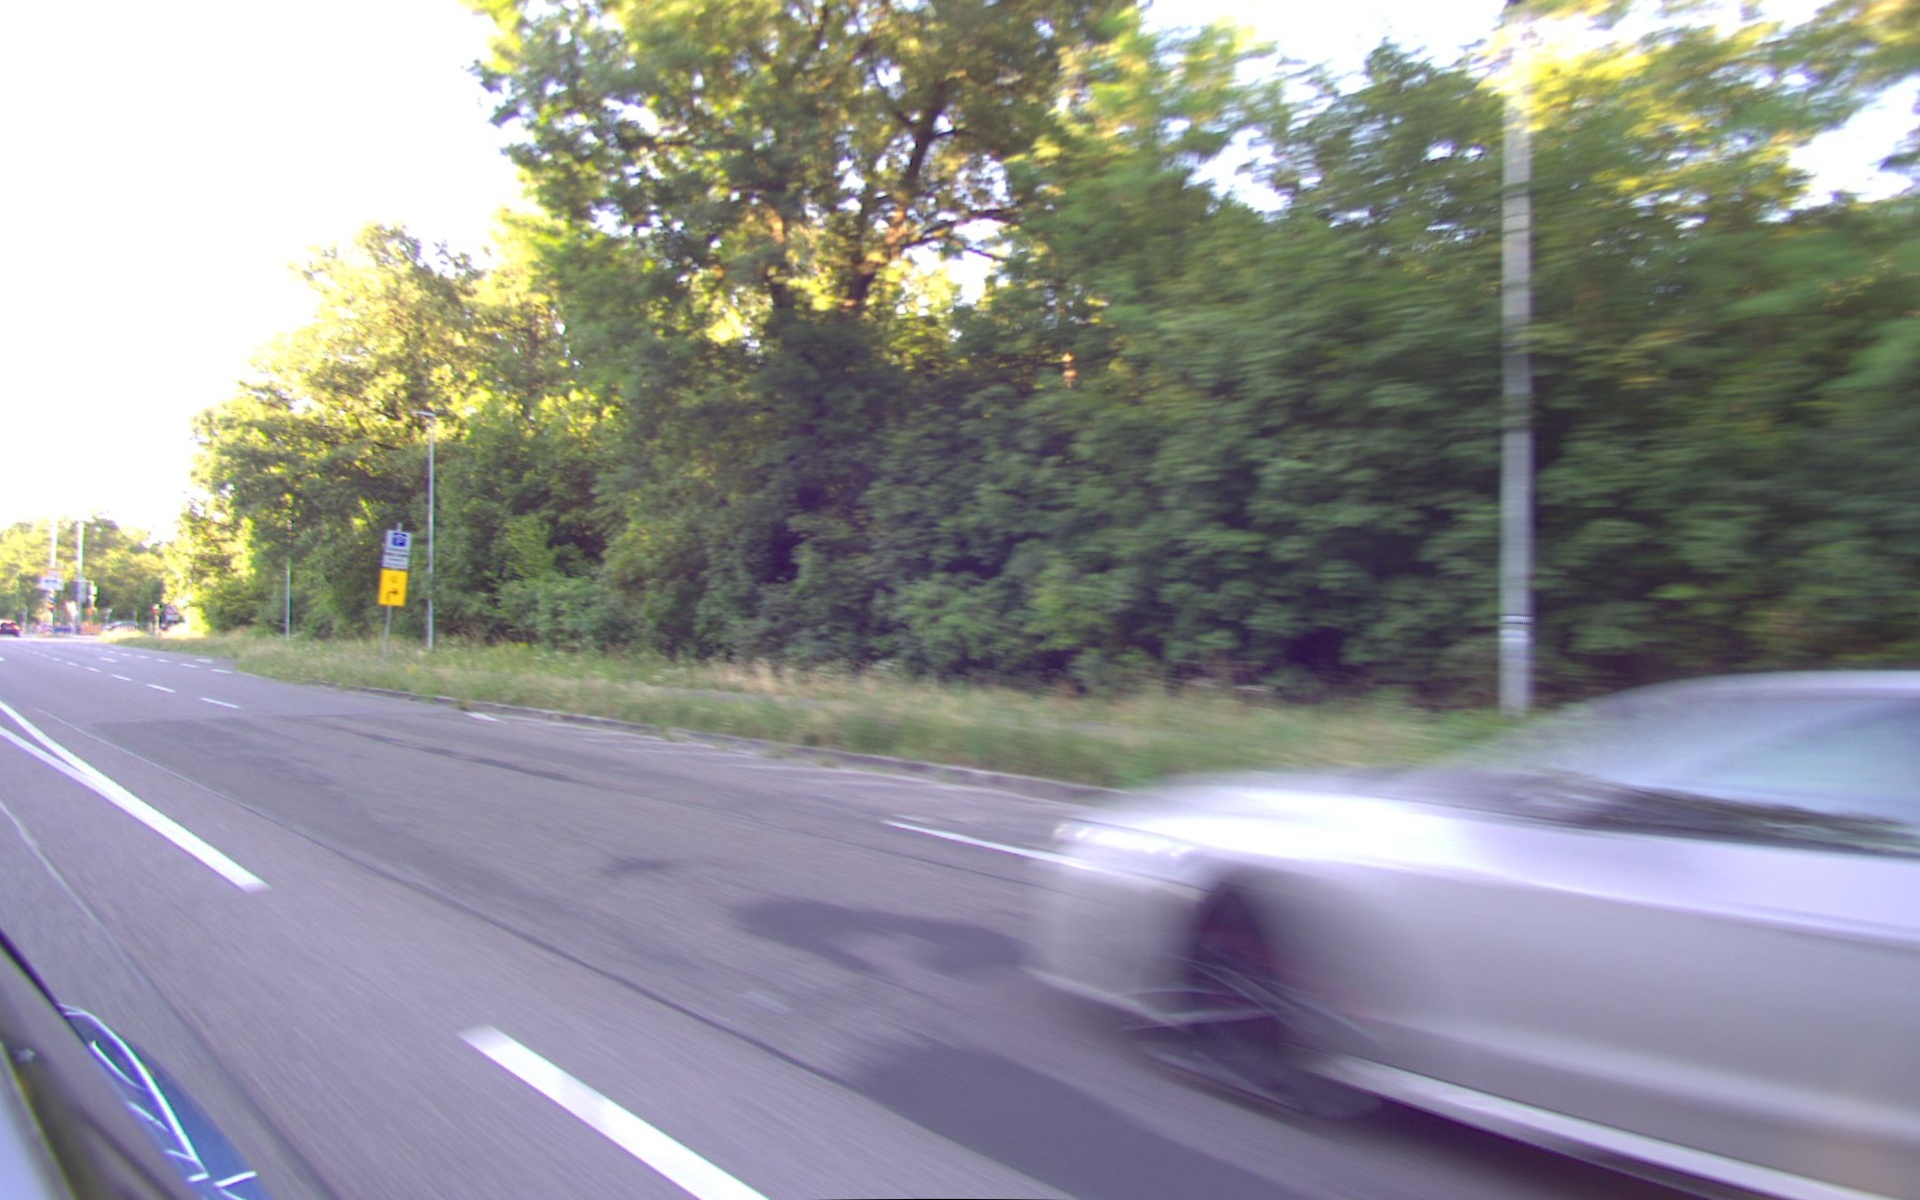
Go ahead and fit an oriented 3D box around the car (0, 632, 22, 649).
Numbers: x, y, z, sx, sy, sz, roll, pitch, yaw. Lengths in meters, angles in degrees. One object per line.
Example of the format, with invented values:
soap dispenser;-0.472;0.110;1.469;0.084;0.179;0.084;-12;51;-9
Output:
car;-89.981;3.793;95.380;1.796;1.545;4.464;4;-4;-38

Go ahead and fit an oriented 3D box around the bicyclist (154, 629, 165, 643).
bicyclist;-79.770;3.592;100.818;0.577;1.440;0.825;1;-2;-22

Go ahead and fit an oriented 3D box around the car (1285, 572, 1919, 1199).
car;3.255;0.709;2.125;4.467;1.446;2.040;-1;-3;44

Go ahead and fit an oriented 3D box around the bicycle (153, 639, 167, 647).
bicycle;-79.860;4.263;101.025;0.577;0.810;1.965;1;-2;-22
